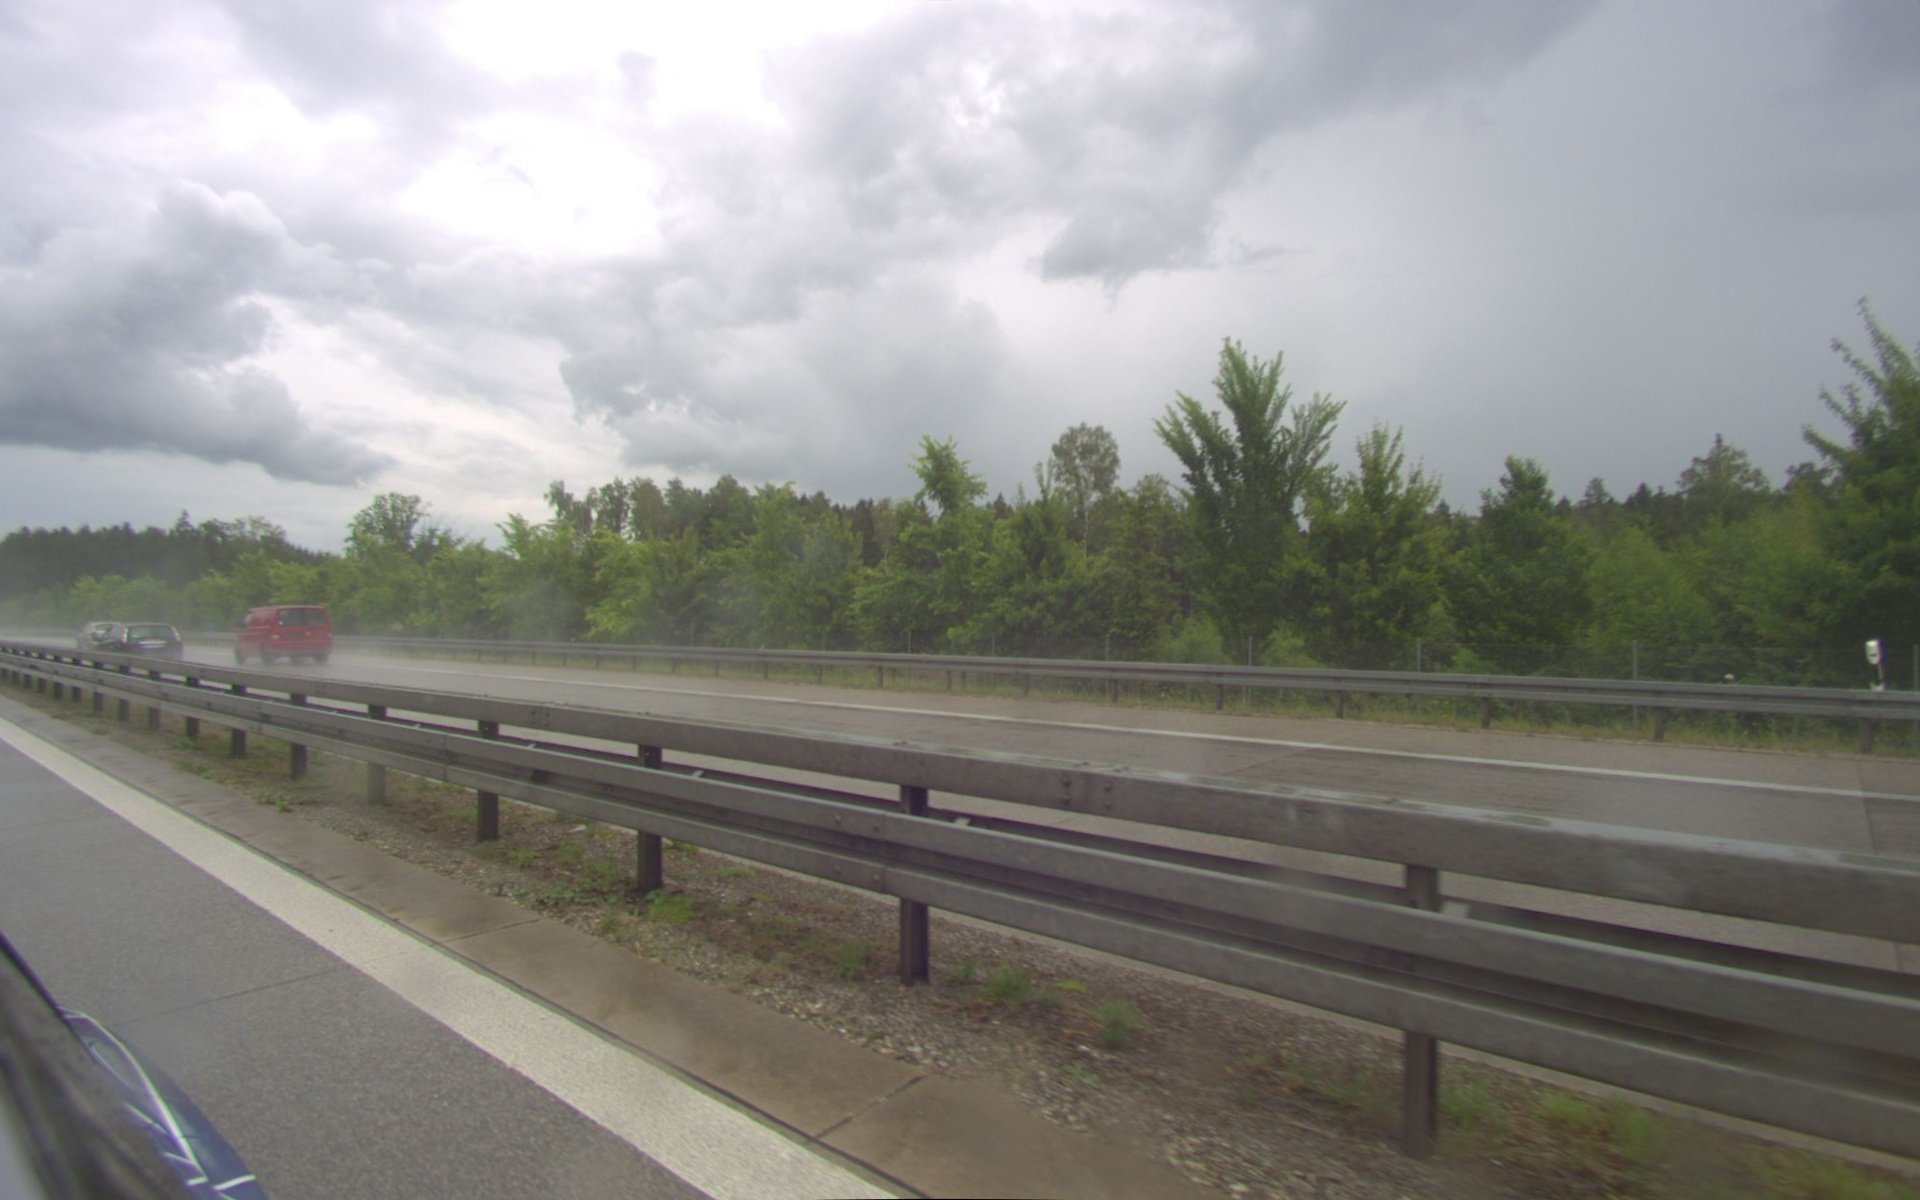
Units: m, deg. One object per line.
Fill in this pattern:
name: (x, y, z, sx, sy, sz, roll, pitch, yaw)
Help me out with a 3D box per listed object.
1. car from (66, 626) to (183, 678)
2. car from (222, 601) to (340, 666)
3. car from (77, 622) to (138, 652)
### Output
car: (-25.756, 1.580, 31.140, 4.554, 1.494, 1.973, -2, -4, 41)
car: (-23.398, 1.175, 34.782, 5.309, 2.080, 1.973, -2, -4, 41)
car: (-43.707, 1.905, 51.874, 3.915, 1.446, 1.731, -2, -4, 41)
